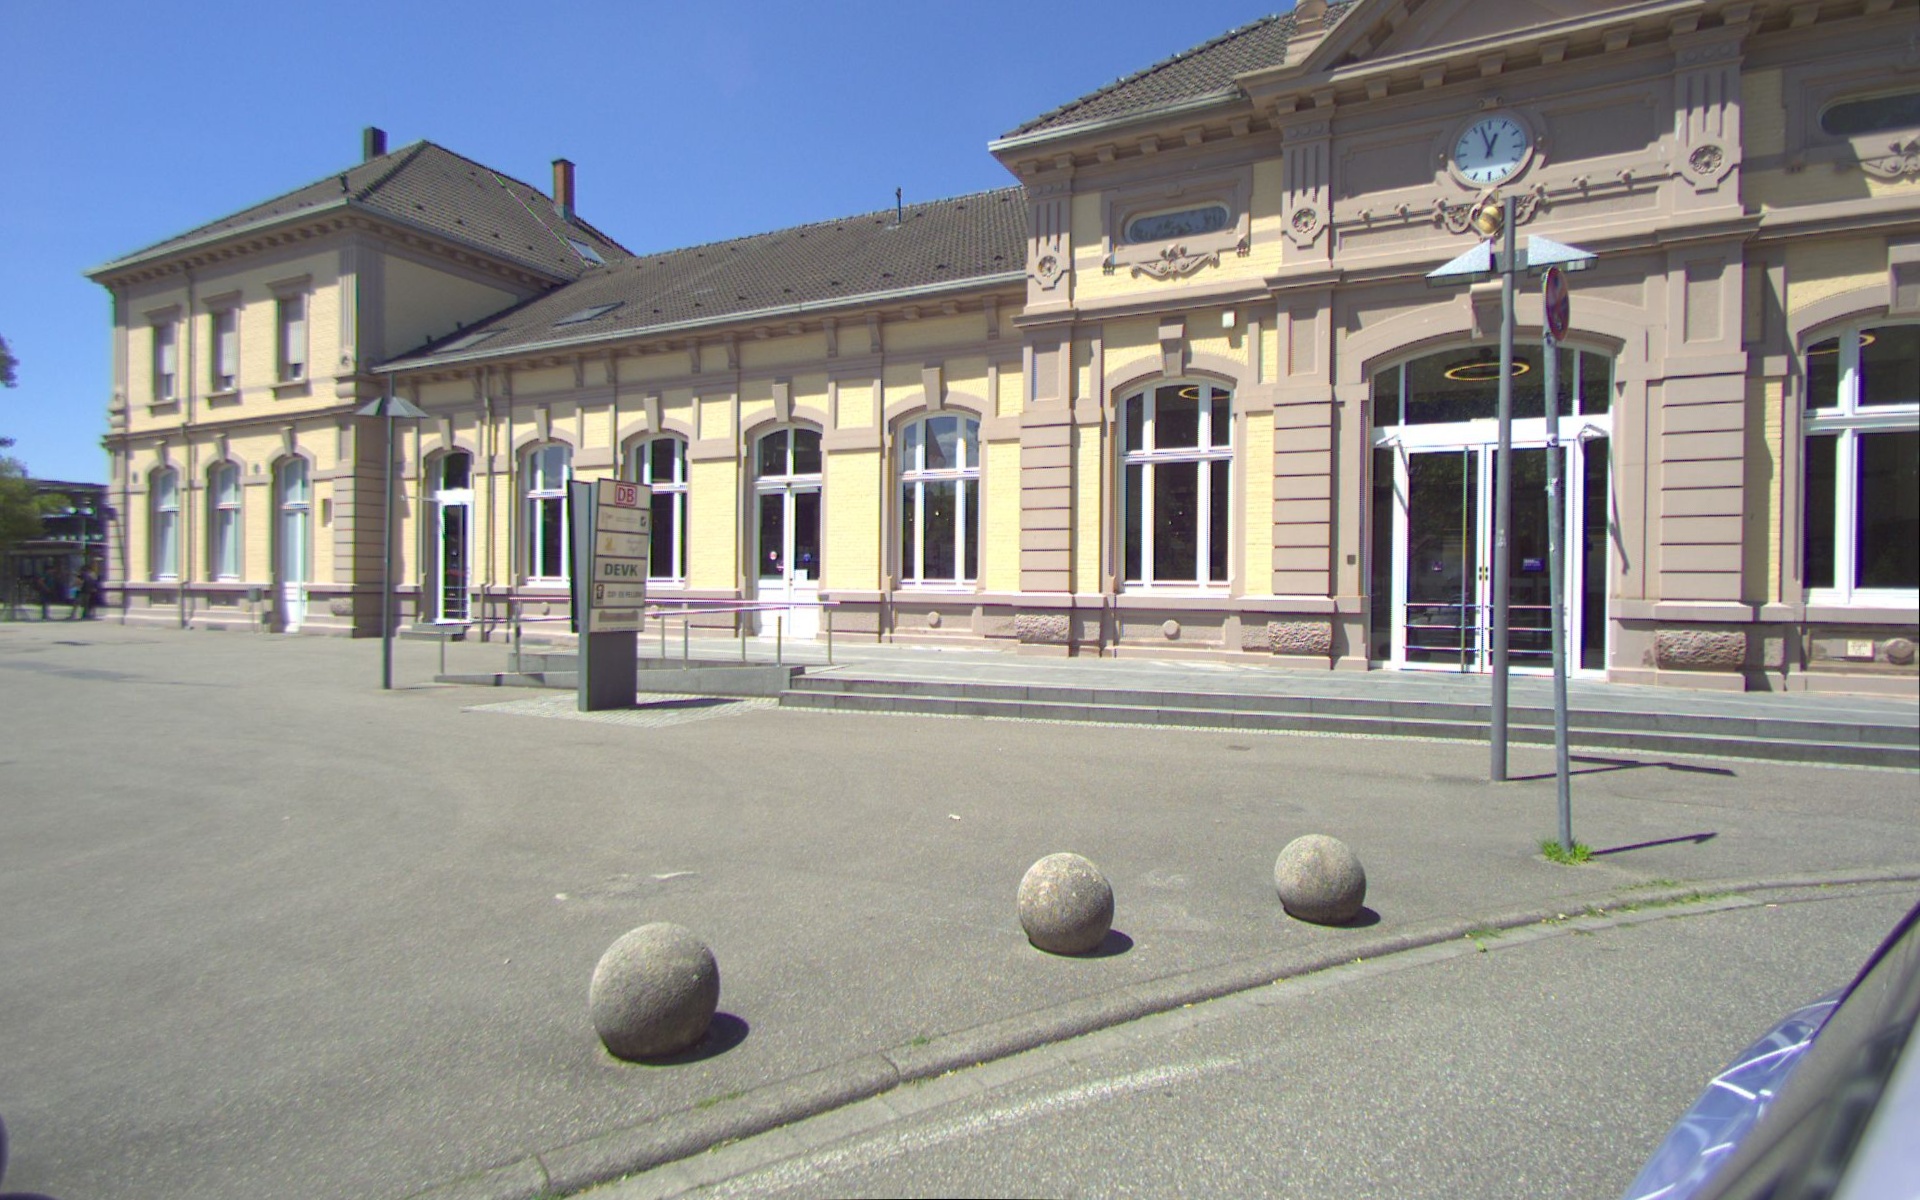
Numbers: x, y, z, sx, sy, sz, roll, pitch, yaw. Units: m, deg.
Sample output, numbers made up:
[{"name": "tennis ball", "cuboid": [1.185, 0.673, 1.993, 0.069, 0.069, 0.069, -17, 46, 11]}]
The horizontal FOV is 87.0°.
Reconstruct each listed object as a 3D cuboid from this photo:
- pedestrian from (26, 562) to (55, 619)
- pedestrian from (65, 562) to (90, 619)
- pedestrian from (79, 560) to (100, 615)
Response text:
[{"name": "pedestrian", "cuboid": [-30.018, -0.305, 33.058, 0.678, 1.832, 0.631, 0, 1, -41]}, {"name": "pedestrian", "cuboid": [-29.184, -0.319, 33.474, 0.621, 1.832, 0.595, 0, 1, -42]}, {"name": "pedestrian", "cuboid": [-29.339, -0.428, 34.107, 0.542, 1.832, 0.497, 0, 1, -42]}]
